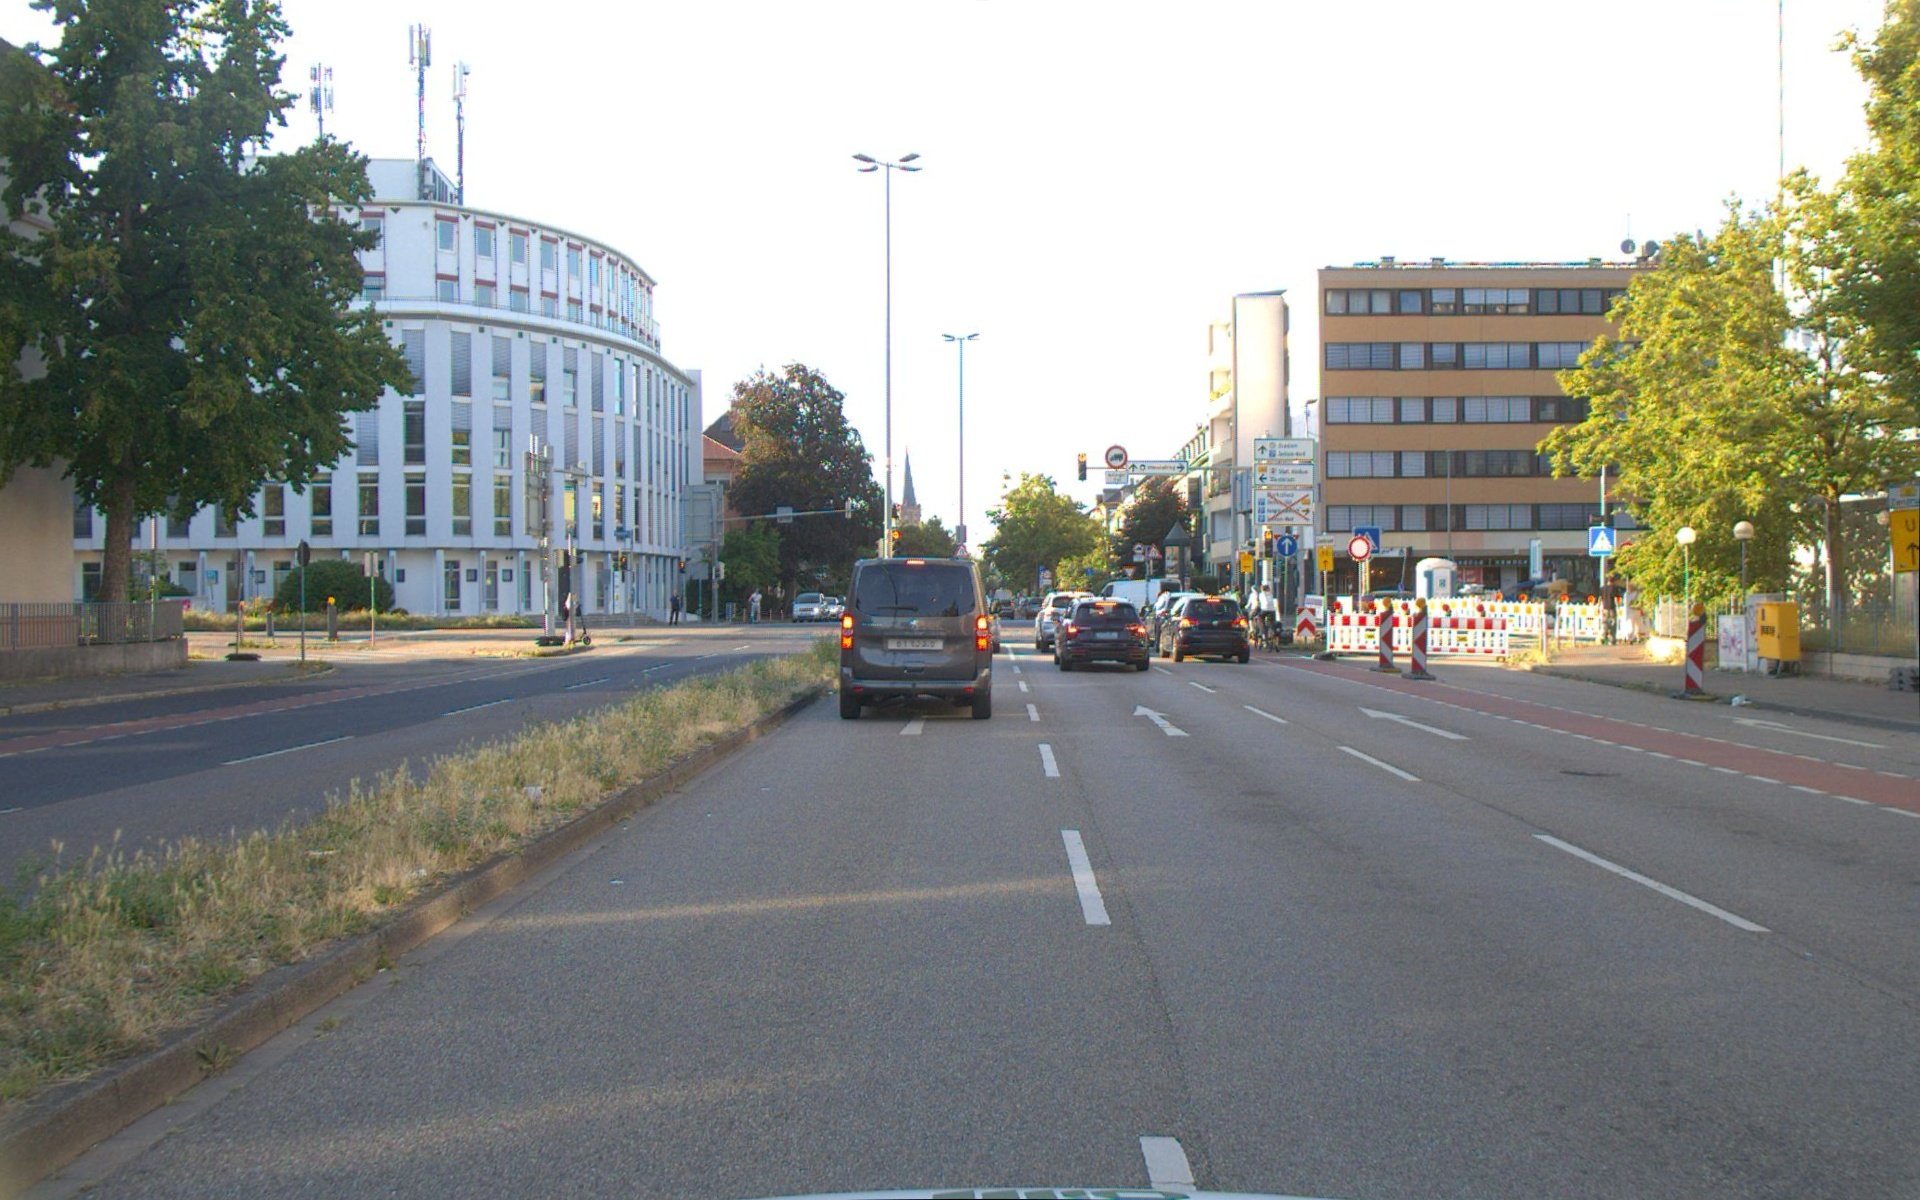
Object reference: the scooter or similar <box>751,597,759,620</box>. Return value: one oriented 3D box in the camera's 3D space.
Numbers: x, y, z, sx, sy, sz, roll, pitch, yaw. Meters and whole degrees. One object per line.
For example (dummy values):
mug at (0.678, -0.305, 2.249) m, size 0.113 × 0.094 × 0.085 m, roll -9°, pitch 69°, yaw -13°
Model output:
scooter or similar at (-10.814, 0.440, 87.214) m, size 0.279 × 1.209 × 1.169 m, roll -1°, pitch 0°, yaw 0°

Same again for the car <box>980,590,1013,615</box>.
car at (2.619, 0.174, 118.459) m, size 1.954 × 1.691 × 3.997 m, roll -1°, pitch 0°, yaw -4°

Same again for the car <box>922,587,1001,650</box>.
car at (0.057, 0.443, 43.061) m, size 1.952 × 1.557 × 4.000 m, roll -1°, pitch 0°, yaw 0°

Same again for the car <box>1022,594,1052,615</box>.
car at (5.547, 0.321, 119.746) m, size 1.866 × 1.396 × 3.999 m, roll -1°, pitch 0°, yaw -1°

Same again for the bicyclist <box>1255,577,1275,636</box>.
bicyclist at (8.086, 0.181, 43.820) m, size 0.432 × 1.552 × 0.482 m, roll -1°, pitch 0°, yaw 0°

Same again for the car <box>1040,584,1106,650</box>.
car at (2.946, 0.408, 43.740) m, size 1.497 × 1.641 × 3.745 m, roll 1°, pitch 0°, yaw 0°

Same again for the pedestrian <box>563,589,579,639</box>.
pedestrian at (-12.104, 0.428, 51.429) m, size 0.466 × 1.532 × 0.334 m, roll -1°, pitch 0°, yaw -12°

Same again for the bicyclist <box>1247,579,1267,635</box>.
bicyclist at (8.264, 0.191, 46.059) m, size 0.432 × 1.552 × 0.725 m, roll -1°, pitch 0°, yaw 0°

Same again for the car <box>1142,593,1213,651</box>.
car at (5.801, 0.561, 44.309) m, size 1.474 × 1.474 × 3.305 m, roll -1°, pitch 0°, yaw 0°

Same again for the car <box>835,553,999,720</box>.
car at (-0.480, 0.407, 21.301) m, size 1.868 × 1.896 × 4.526 m, roll 1°, pitch 0°, yaw 0°

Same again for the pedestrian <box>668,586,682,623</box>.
pedestrian at (-13.808, 0.226, 80.098) m, size 0.615 × 1.752 × 0.669 m, roll -1°, pitch 0°, yaw -13°

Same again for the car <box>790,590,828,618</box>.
car at (-8.316, 0.213, 91.260) m, size 1.818 × 1.445 × 3.999 m, roll -1°, pitch 0°, yaw -1°

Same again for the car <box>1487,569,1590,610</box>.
car at (27.308, -0.482, 78.158) m, size 4.129 × 1.849 × 2.000 m, roll -1°, pitch 0°, yaw 0°

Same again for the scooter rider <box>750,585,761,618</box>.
scooter rider at (-10.779, 0.100, 87.323) m, size 0.471 × 1.727 × 0.636 m, roll -1°, pitch 0°, yaw 0°

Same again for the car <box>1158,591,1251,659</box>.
car at (5.629, 0.547, 38.464) m, size 1.600 × 1.474 × 3.745 m, roll 1°, pitch 0°, yaw 0°

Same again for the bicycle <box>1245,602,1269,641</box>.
bicycle at (8.260, 0.583, 45.978) m, size 0.329 × 1.025 × 1.856 m, roll -1°, pitch 0°, yaw 0°

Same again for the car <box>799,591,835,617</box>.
car at (-8.380, 0.201, 97.079) m, size 1.818 × 1.445 × 3.999 m, roll -1°, pitch 0°, yaw -1°

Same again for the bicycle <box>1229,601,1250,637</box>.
bicycle at (8.265, 0.560, 48.949) m, size 0.329 × 1.025 × 1.856 m, roll -1°, pitch 0°, yaw 0°

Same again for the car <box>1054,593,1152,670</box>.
car at (2.868, 0.593, 33.814) m, size 1.647 × 1.446 × 4.214 m, roll 1°, pitch 0°, yaw 0°

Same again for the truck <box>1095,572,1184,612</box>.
truck at (9.840, -0.413, 90.924) m, size 2.119 × 2.123 × 4.554 m, roll -1°, pitch 0°, yaw -45°

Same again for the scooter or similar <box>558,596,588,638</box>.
scooter or similar at (-12.004, 0.524, 51.349) m, size 0.877 × 1.255 × 0.370 m, roll -1°, pitch 0°, yaw -11°

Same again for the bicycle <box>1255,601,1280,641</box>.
bicycle at (8.140, 0.540, 43.840) m, size 0.329 × 1.025 × 1.856 m, roll -1°, pitch 0°, yaw 0°

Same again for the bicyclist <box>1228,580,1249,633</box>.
bicyclist at (8.253, 0.201, 48.995) m, size 0.502 × 1.552 × 0.725 m, roll -1°, pitch 0°, yaw 0°

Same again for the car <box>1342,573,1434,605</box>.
car at (20.618, -0.536, 79.729) m, size 3.910 × 1.445 × 1.785 m, roll -1°, pitch 0°, yaw -6°
